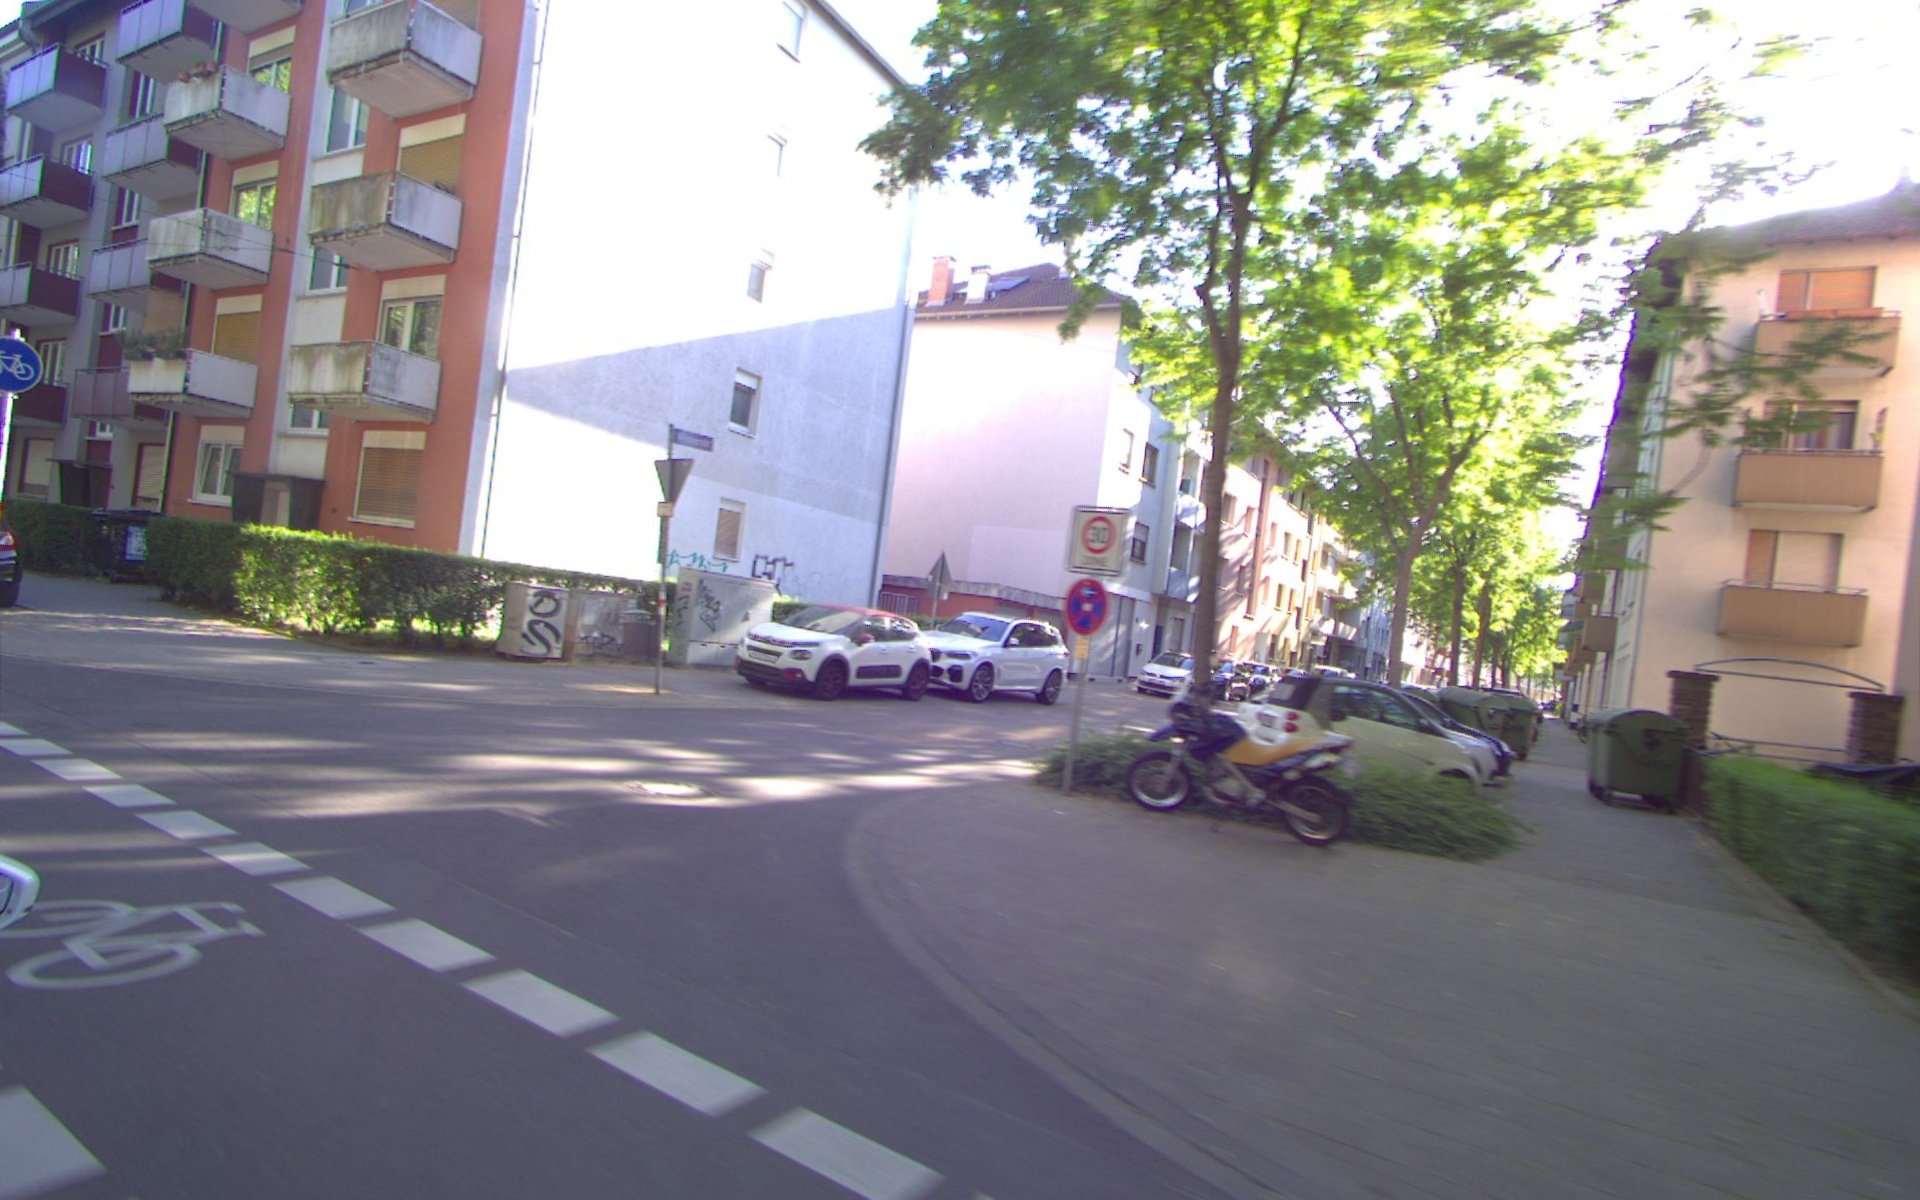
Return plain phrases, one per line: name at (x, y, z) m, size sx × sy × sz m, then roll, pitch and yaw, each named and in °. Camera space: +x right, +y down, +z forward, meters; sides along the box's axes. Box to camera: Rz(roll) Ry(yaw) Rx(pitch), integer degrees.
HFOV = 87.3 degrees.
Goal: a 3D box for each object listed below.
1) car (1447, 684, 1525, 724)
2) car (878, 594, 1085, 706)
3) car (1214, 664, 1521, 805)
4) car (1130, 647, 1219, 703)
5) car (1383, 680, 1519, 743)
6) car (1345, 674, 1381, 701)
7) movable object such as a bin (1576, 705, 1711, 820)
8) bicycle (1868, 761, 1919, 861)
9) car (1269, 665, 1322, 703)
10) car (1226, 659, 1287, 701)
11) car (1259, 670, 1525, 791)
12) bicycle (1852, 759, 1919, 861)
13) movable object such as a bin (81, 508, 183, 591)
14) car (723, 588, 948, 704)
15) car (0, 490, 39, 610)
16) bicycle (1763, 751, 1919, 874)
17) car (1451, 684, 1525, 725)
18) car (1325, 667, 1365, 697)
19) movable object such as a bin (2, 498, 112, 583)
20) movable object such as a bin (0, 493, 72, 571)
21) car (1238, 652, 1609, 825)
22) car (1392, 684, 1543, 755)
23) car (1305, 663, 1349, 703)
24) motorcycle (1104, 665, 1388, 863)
car at (30.077, 5.946, 57.513) m, size 3.723 × 1.738 × 1.663 m, roll 6°, pitch -2°, yaw 32°
car at (0.602, 1.141, 21.211) m, size 1.972 × 1.814 × 4.728 m, roll 10°, pitch 0°, yaw 33°
car at (6.133, 2.009, 15.451) m, size 3.873 × 1.478 × 1.728 m, roll 8°, pitch -1°, yaw 0°
car at (6.948, 2.430, 32.336) m, size 1.557 × 1.506 × 3.385 m, roll 7°, pitch -1°, yaw 33°
car at (16.025, 3.633, 32.874) m, size 3.723 × 1.457 × 1.663 m, roll 6°, pitch -2°, yaw 32°
car at (25.830, 5.611, 64.377) m, size 1.413 × 1.506 × 3.385 m, roll 7°, pitch -1°, yaw 33°
movable object such as a bin at (10.488, 2.429, 15.576) m, size 1.354 × 1.435 × 2.546 m, roll 5°, pitch -2°, yaw 28°
bicycle at (12.637, 2.790, 13.350) m, size 0.443 × 1.178 × 1.774 m, roll 7°, pitch -2°, yaw 31°
car at (15.892, 3.999, 47.569) m, size 1.413 × 1.506 × 3.385 m, roll 7°, pitch -1°, yaw 33°
car at (12.432, 3.357, 42.065) m, size 1.413 × 1.506 × 3.385 m, roll 7°, pitch -1°, yaw 33°
car at (7.567, 2.267, 17.883) m, size 3.872 × 1.478 × 1.667 m, roll 8°, pitch -1°, yaw 1°
bicycle at (12.497, 2.772, 13.439) m, size 0.443 × 1.183 × 1.774 m, roll 7°, pitch -2°, yaw 31°
movable object such as a bin at (-15.445, -0.926, 18.790) m, size 0.762 × 1.342 × 1.155 m, roll 7°, pitch -2°, yaw 31°
car at (-1.959, 0.853, 16.986) m, size 1.534 × 1.500 × 3.922 m, roll 10°, pitch 0°, yaw 30°
car at (-13.886, -0.852, 13.086) m, size 3.850 × 1.480 × 1.735 m, roll 7°, pitch 1°, yaw 31°
bicycle at (10.253, 2.405, 11.321) m, size 1.746 × 1.112 × 0.513 m, roll 6°, pitch -2°, yaw 32°
car at (32.028, 6.334, 61.019) m, size 3.723 × 1.937 × 1.663 m, roll 6°, pitch -2°, yaw 32°
car at (22.698, 4.837, 59.288) m, size 1.413 × 1.506 × 3.385 m, roll 7°, pitch -1°, yaw 33°
movable object such as a bin at (-16.876, -1.121, 18.805) m, size 1.693 × 1.342 × 0.969 m, roll 6°, pitch -2°, yaw 32°
movable object such as a bin at (-18.392, -1.358, 19.716) m, size 1.654 × 1.342 × 0.925 m, roll 6°, pitch -2°, yaw 32°
car at (5.929, 1.746, 13.212) m, size 3.926 × 1.558 × 1.727 m, roll 8°, pitch -1°, yaw 0°
car at (14.821, 3.473, 29.426) m, size 3.723 × 1.457 × 1.663 m, roll 6°, pitch -2°, yaw 32°
car at (20.074, 4.544, 54.974) m, size 1.413 × 1.896 × 3.385 m, roll 7°, pitch -1°, yaw 33°
motorcycle at (2.488, 1.383, 8.951) m, size 2.223 × 1.313 × 0.678 m, roll 6°, pitch -1°, yaw 37°
